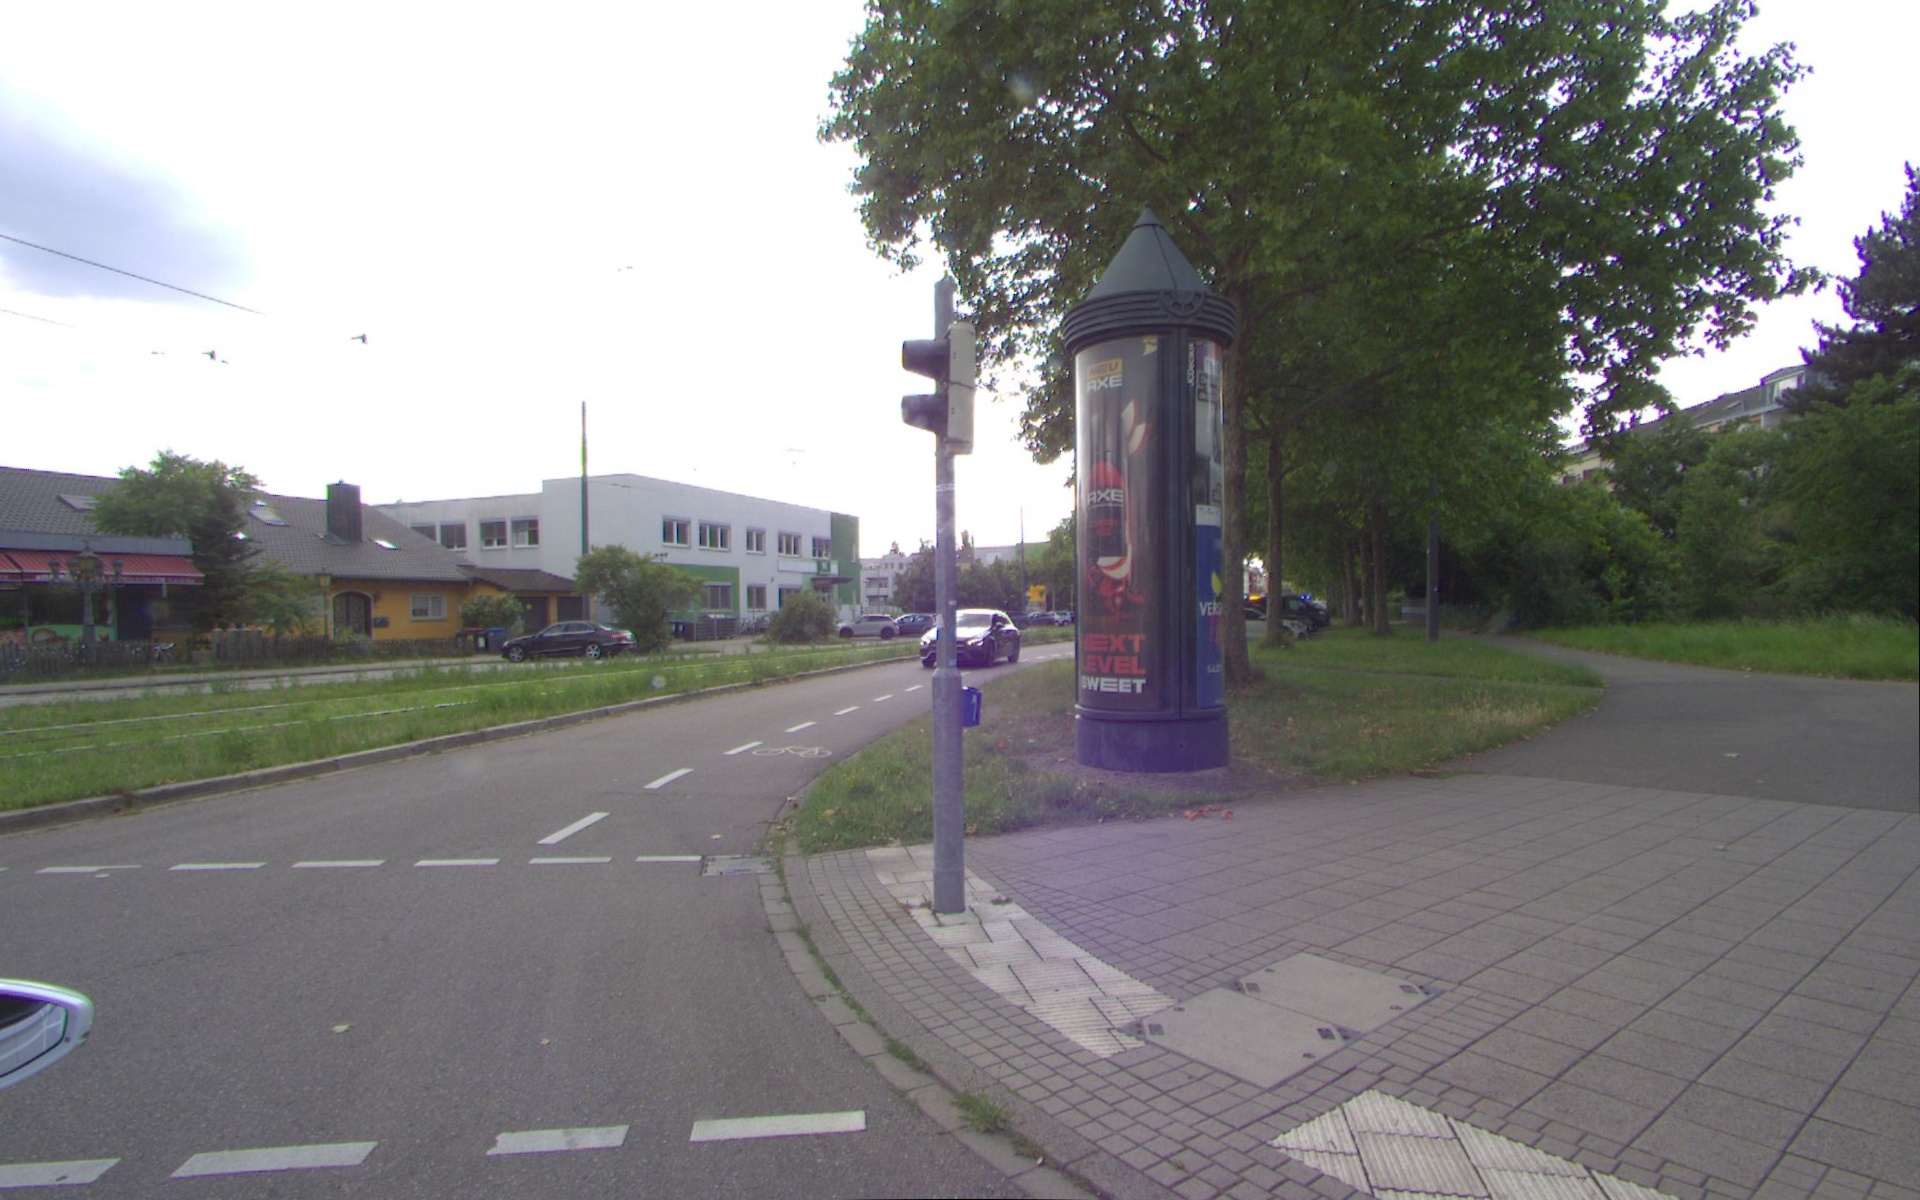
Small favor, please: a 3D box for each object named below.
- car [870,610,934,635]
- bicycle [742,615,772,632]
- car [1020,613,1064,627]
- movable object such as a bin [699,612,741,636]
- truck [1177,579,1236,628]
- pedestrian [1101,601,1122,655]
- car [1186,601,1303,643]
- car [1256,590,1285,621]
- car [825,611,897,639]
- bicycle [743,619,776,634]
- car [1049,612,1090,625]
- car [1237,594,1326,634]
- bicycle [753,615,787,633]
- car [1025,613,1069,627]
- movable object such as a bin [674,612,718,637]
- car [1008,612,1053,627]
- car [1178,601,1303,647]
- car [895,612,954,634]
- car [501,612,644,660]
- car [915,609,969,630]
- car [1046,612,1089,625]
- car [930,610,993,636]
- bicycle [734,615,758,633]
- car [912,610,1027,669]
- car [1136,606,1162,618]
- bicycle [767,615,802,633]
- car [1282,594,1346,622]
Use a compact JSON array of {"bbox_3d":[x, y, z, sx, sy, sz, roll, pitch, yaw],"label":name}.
[{"bbox_3d":[-3.974,1.523,67.865,4.232,1.650,1.901,0,0,-7],"label":"car"},{"bbox_3d":[-12.937,1.489,63.792,1.765,1.096,0.735,-1,0,19],"label":"bicycle"},{"bbox_3d":[8.159,1.965,99.782,4.231,1.382,1.902,-1,0,-1],"label":"car"},{"bbox_3d":[-13.870,1.383,57.869,1.354,1.344,2.125,-1,0,25],"label":"movable object such as a bin"},{"bbox_3d":[18.040,0.305,73.003,3.139,3.361,7.504,-1,0,22],"label":"truck"},{"bbox_3d":[4.885,0.894,32.202,0.577,1.706,0.493,0,0,20],"label":"pedestrian"},{"bbox_3d":[11.565,0.918,40.658,4.463,1.665,1.997,-1,-1,19],"label":"car"},{"bbox_3d":[35.728,0.715,115.075,2.922,3.374,7.446,1,0,19],"label":"car"},{"bbox_3d":[-6.173,1.518,62.221,4.235,1.650,1.900,-1,0,-12],"label":"car"},{"bbox_3d":[-13.327,1.771,66.634,2.124,0.983,0.728,-1,0,25],"label":"bicycle"},{"bbox_3d":[12.060,2.007,110.183,4.231,1.382,1.902,-1,0,-1],"label":"car"},{"bbox_3d":[17.482,0.784,54.451,4.479,2.040,1.995,-1,-1,22],"label":"car"},{"bbox_3d":[-12.794,1.590,67.399,2.315,1.181,0.757,-1,0,27],"label":"bicycle"},{"bbox_3d":[8.864,2.005,102.280,4.231,1.382,1.902,-1,0,-1],"label":"car"},{"bbox_3d":[-14.705,1.344,55.851,1.354,1.344,2.110,-1,0,25],"label":"movable object such as a bin"},{"bbox_3d":[6.775,1.905,96.765,4.231,1.382,1.902,-1,0,-1],"label":"car"},{"bbox_3d":[10.707,0.938,38.225,4.463,1.665,1.997,-1,-1,19],"label":"car"},{"bbox_3d":[-2.525,1.604,70.620,4.090,1.523,1.860,0,0,-6],"label":"car"},{"bbox_3d":[-14.406,1.333,37.410,4.490,1.601,2.000,-2,0,1],"label":"car"},{"bbox_3d":[-1.390,1.492,76.686,4.089,1.523,1.861,0,0,-1],"label":"car"},{"bbox_3d":[11.319,1.945,105.550,4.231,1.382,1.902,-1,0,-1],"label":"car"},{"bbox_3d":[0.139,1.508,65.687,1.879,1.650,4.283,0,-1,39],"label":"car"},{"bbox_3d":[-13.936,1.573,65.226,1.601,1.181,0.701,-1,0,38],"label":"bicycle"},{"bbox_3d":[0.374,0.987,26.699,1.808,1.411,4.599,0,0,18],"label":"car"},{"bbox_3d":[32.025,2.046,169.818,3.925,1.862,1.820,1,0,-11],"label":"car"},{"bbox_3d":[-11.989,1.624,68.306,2.381,1.181,0.745,-1,0,29],"label":"bicycle"},{"bbox_3d":[44.534,1.031,126.159,7.322,3.374,2.971,1,0,16],"label":"car"}]
